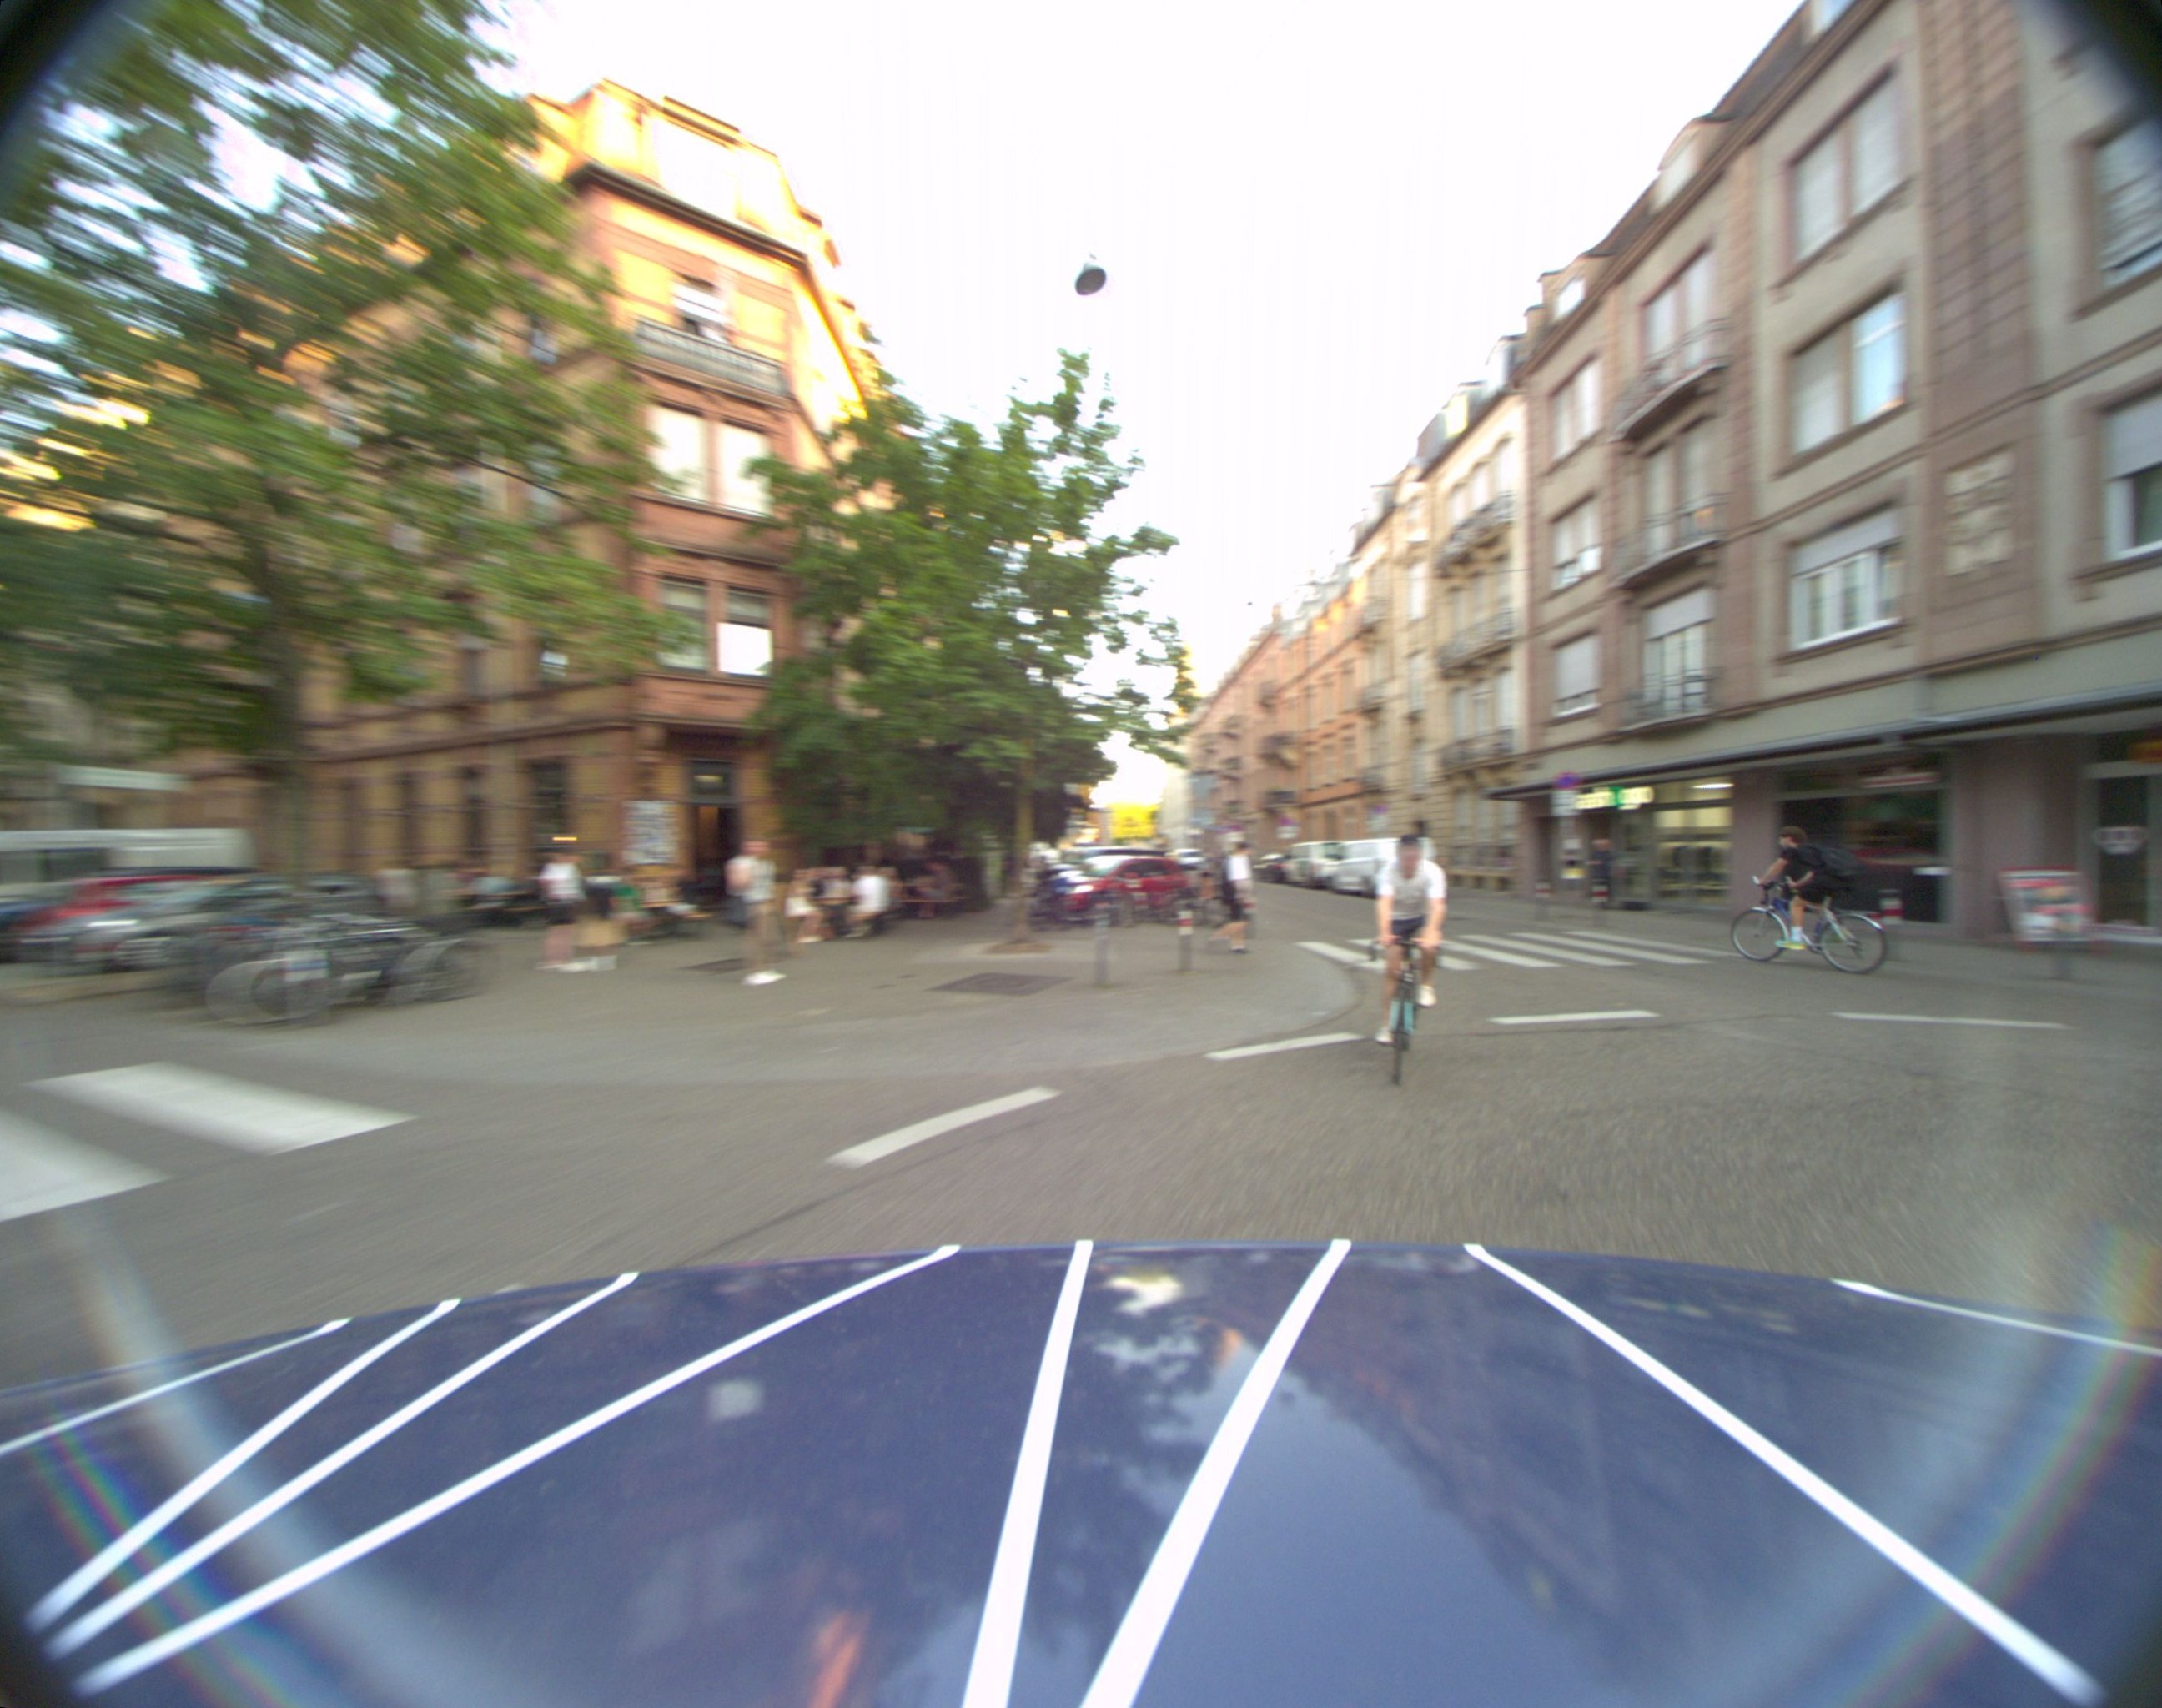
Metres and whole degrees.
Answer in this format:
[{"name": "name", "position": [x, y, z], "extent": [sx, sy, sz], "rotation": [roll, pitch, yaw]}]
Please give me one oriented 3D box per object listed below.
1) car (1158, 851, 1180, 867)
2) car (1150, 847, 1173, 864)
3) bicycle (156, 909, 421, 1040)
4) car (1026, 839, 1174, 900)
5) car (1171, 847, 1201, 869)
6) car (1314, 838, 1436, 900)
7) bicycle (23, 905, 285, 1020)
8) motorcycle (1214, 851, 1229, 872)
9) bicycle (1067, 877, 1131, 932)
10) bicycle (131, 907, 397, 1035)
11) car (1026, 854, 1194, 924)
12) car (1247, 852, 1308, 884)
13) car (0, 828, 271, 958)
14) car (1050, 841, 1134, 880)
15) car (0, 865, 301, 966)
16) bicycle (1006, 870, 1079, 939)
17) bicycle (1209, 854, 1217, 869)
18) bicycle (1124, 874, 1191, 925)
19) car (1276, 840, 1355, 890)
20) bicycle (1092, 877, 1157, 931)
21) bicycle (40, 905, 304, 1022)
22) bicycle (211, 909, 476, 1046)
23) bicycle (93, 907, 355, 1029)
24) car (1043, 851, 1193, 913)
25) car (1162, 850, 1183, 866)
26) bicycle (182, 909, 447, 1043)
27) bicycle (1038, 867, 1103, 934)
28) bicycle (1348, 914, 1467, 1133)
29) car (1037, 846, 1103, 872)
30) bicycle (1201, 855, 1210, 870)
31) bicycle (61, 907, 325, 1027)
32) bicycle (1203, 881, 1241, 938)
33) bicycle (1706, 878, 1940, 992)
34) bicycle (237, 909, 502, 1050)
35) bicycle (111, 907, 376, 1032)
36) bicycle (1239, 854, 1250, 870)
[{"name": "car", "position": [9.329, 0.545, 81.218], "extent": [1.932, 1.587, 3.969], "rotation": [-1, 0, 1]}, {"name": "car", "position": [9.166, 0.138, 86.585], "extent": [1.932, 1.872, 4.904], "rotation": [-1, 0, -1]}, {"name": "bicycle", "position": [-8.898, 1.295, 8.680], "extent": [0.434, 1.127, 2.038], "rotation": [-2, 1, 21]}, {"name": "car", "position": [0.798, 0.596, 28.039], "extent": [5.449, 2.060, 1.928], "rotation": [2, 0, -39]}, {"name": "car", "position": [9.175, 0.323, 66.726], "extent": [1.775, 1.778, 4.585], "rotation": [-2, 1, -2]}, {"name": "car", "position": [10.064, 0.465, 26.510], "extent": [2.115, 1.910, 5.024], "rotation": [-1, 1, -2]}, {"name": "bicycle", "position": [-11.683, 1.311, 9.700], "extent": [0.434, 1.127, 2.038], "rotation": [-2, 1, 21]}, {"name": "motorcycle", "position": [9.592, 0.509, 51.944], "extent": [0.686, 1.397, 2.014], "rotation": [-2, 1, 2]}, {"name": "bicycle", "position": [0.368, 1.064, 16.508], "extent": [0.600, 1.057, 1.765], "rotation": [1, 0, -27]}, {"name": "bicycle", "position": [-9.341, 1.277, 8.834], "extent": [0.434, 1.127, 2.038], "rotation": [-2, 1, 21]}, {"name": "car", "position": [0.778, 0.853, 19.437], "extent": [4.056, 1.618, 1.689], "rotation": [1, -1, -32]}, {"name": "car", "position": [9.799, 0.656, 38.214], "extent": [1.842, 1.462, 4.171], "rotation": [-1, 1, -3]}, {"name": "car", "position": [-20.882, 0.735, 15.405], "extent": [2.240, 2.407, 5.550], "rotation": [-2, 1, 22]}, {"name": "car", "position": [0.710, 0.365, 48.106], "extent": [4.946, 2.348, 1.996], "rotation": [0, 0, -27]}, {"name": "car", "position": [-18.465, 1.099, 14.473], "extent": [1.995, 1.517, 4.551], "rotation": [-2, 1, 26]}, {"name": "bicycle", "position": [-0.804, 0.981, 15.385], "extent": [0.600, 1.281, 1.718], "rotation": [-2, 1, -37]}, {"name": "bicycle", "position": [10.570, 0.609, 60.831], "extent": [0.466, 1.148, 2.001], "rotation": [-2, 1, 6]}, {"name": "bicycle", "position": [1.809, 1.071, 17.976], "extent": [1.553, 1.154, 0.364], "rotation": [0, 1, -15]}, {"name": "car", "position": [9.920, 0.417, 32.537], "extent": [1.841, 1.910, 4.845], "rotation": [-1, 1, 0]}, {"name": "bicycle", "position": [0.935, 1.078, 16.795], "extent": [0.599, 1.057, 1.765], "rotation": [-3, 1, -27]}, {"name": "bicycle", "position": [-11.240, 1.295, 9.524], "extent": [0.434, 1.127, 2.038], "rotation": [-2, 1, 21]}, {"name": "bicycle", "position": [-7.947, 1.270, 8.347], "extent": [0.434, 1.127, 2.038], "rotation": [-2, 1, 21]}, {"name": "bicycle", "position": [-10.228, 1.303, 9.206], "extent": [0.434, 1.127, 2.038], "rotation": [-2, 1, 21]}, {"name": "car", "position": [1.156, 0.813, 22.777], "extent": [4.233, 1.678, 1.928], "rotation": [2, 0, -39]}, {"name": "car", "position": [9.262, 0.391, 76.877], "extent": [1.709, 1.521, 3.792], "rotation": [-1, 0, 1]}, {"name": "bicycle", "position": [-8.437, 1.279, 8.518], "extent": [0.434, 1.127, 2.038], "rotation": [-2, 1, 21]}, {"name": "bicycle", "position": [-0.252, 0.948, 16.023], "extent": [0.599, 1.281, 1.765], "rotation": [-3, 1, -27]}, {"name": "bicycle", "position": [2.421, 1.107, 5.518], "extent": [0.519, 1.148, 1.786], "rotation": [-1, 1, 31]}, {"name": "car", "position": [-0.908, 0.424, 61.660], "extent": [5.187, 1.944, 1.899], "rotation": [1, -1, -2]}, {"name": "bicycle", "position": [9.805, 0.656, 59.962], "extent": [0.467, 1.062, 1.520], "rotation": [-2, 1, 3]}, {"name": "bicycle", "position": [-10.766, 1.313, 9.345], "extent": [0.434, 1.127, 2.038], "rotation": [-2, 1, 21]}, {"name": "bicycle", "position": [2.960, 1.141, 16.073], "extent": [0.365, 1.057, 1.551], "rotation": [-2, 1, -4]}, {"name": "bicycle", "position": [9.154, 0.938, 9.505], "extent": [0.841, 1.165, 1.933], "rotation": [-3, 1, -14]}, {"name": "bicycle", "position": [-7.483, 1.254, 8.152], "extent": [0.434, 1.127, 2.038], "rotation": [-2, 1, 21]}, {"name": "bicycle", "position": [-9.786, 1.292, 9.019], "extent": [0.434, 1.127, 2.038], "rotation": [-2, 1, 21]}, {"name": "bicycle", "position": [12.080, 0.577, 56.219], "extent": [0.413, 1.153, 1.837], "rotation": [-2, 1, 0]}]
